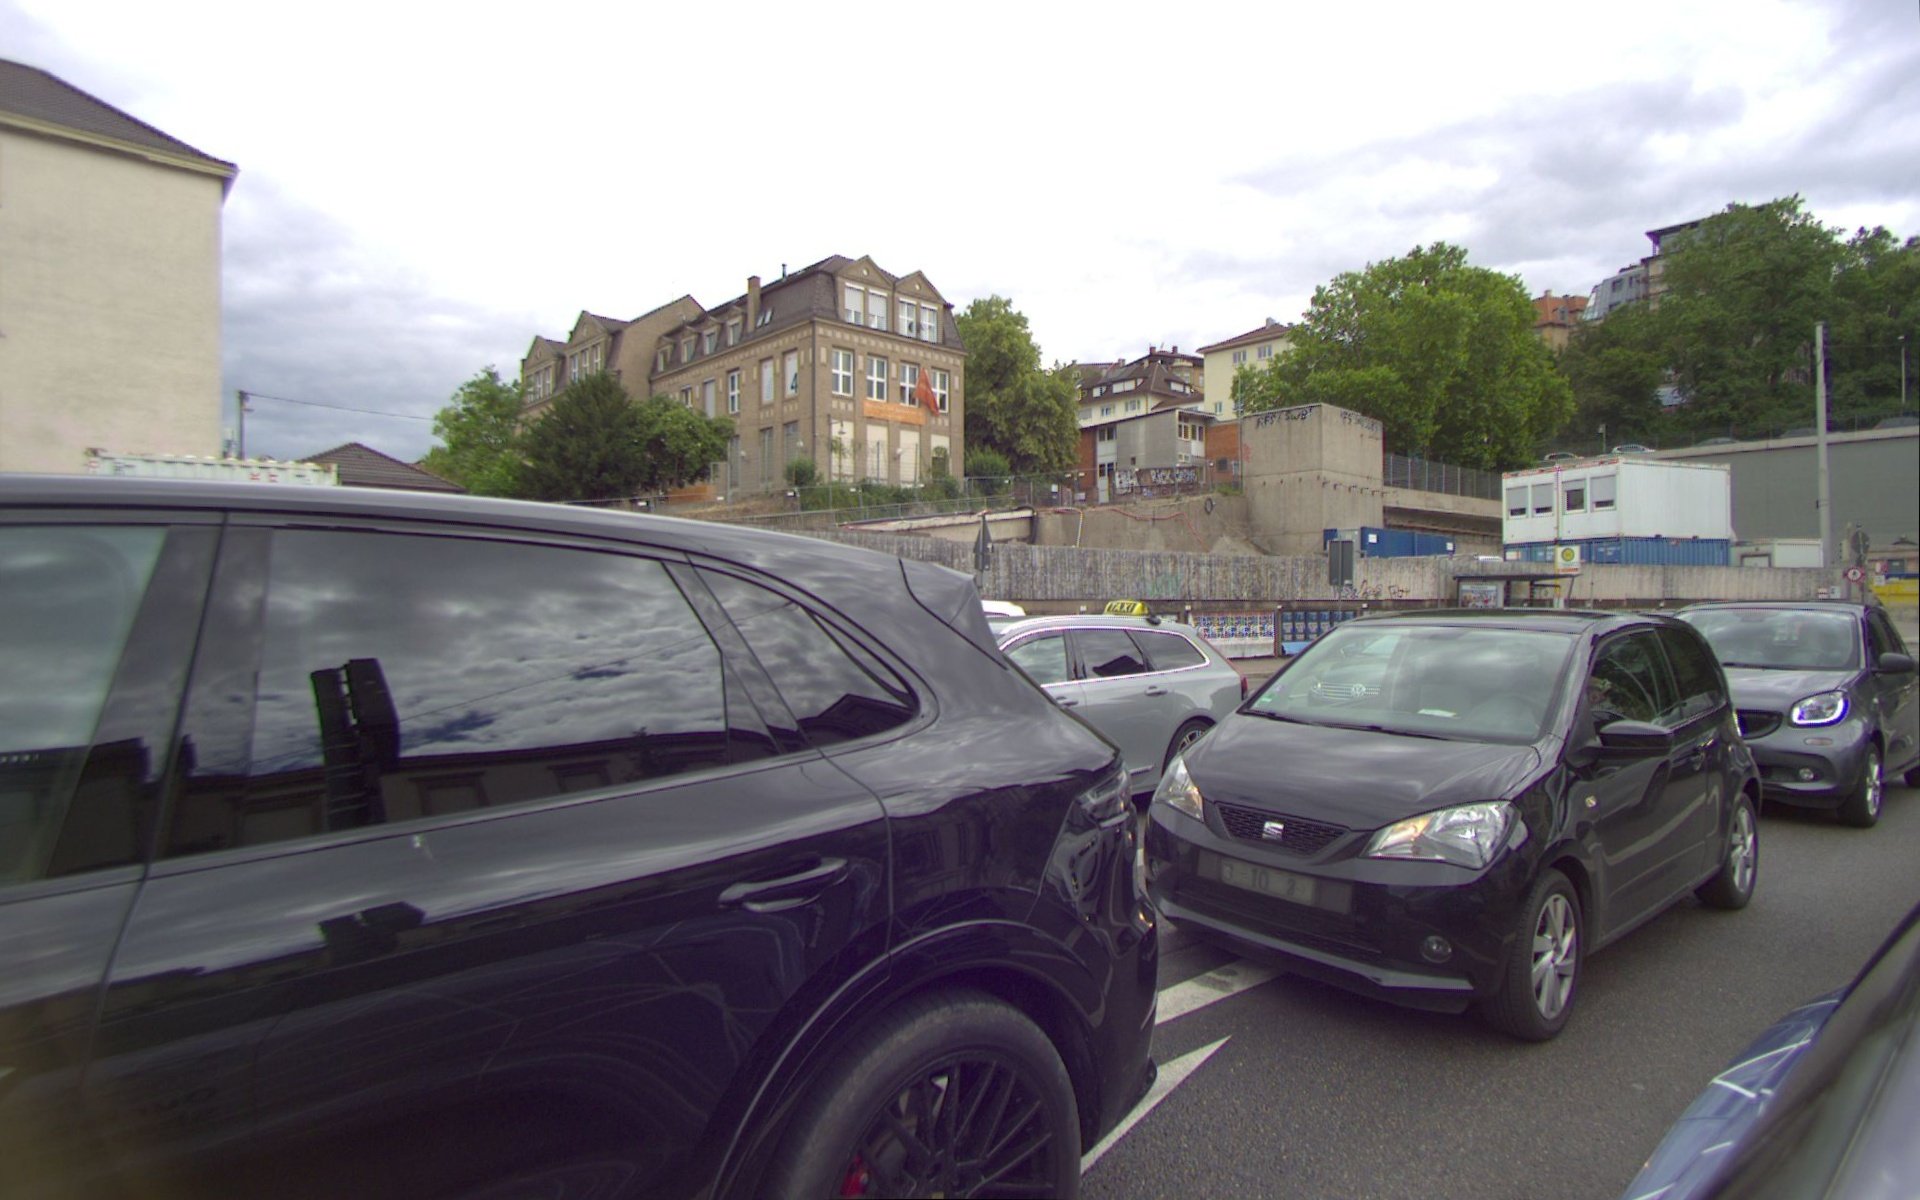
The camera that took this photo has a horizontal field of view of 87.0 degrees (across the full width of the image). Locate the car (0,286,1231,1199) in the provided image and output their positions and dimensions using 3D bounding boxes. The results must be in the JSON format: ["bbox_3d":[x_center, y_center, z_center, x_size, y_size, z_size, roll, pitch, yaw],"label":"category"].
[{"bbox_3d":[-1.627,0.558,1.602,4.406,1.736,1.827,-1,0,-41],"label":"car"}]

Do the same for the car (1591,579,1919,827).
[{"bbox_3d":[6.703,0.651,8.188,3.511,1.563,1.720,0,0,-40],"label":"car"}]

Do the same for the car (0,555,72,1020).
[{"bbox_3d":[-5.309,0.681,3.041,3.930,1.645,1.679,-1,0,-41],"label":"car"}]

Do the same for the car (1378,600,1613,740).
[{"bbox_3d":[6.501,0.736,12.225,2.667,1.449,1.664,-1,0,-41],"label":"car"}]

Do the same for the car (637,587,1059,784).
[{"bbox_3d":[-1.013,0.698,10.480,4.136,1.645,1.679,-1,0,-41],"label":"car"}]

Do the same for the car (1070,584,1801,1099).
[{"bbox_3d":[2.431,0.670,4.793,3.636,1.476,1.827,-1,0,-41],"label":"car"}]

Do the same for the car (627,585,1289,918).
[{"bbox_3d":[0.264,0.722,7.264,4.725,1.645,1.827,-1,0,-41],"label":"car"}]

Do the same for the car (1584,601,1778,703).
[{"bbox_3d":[11.501,0.735,16.058,3.740,1.383,1.679,-1,0,-41],"label":"car"}]
